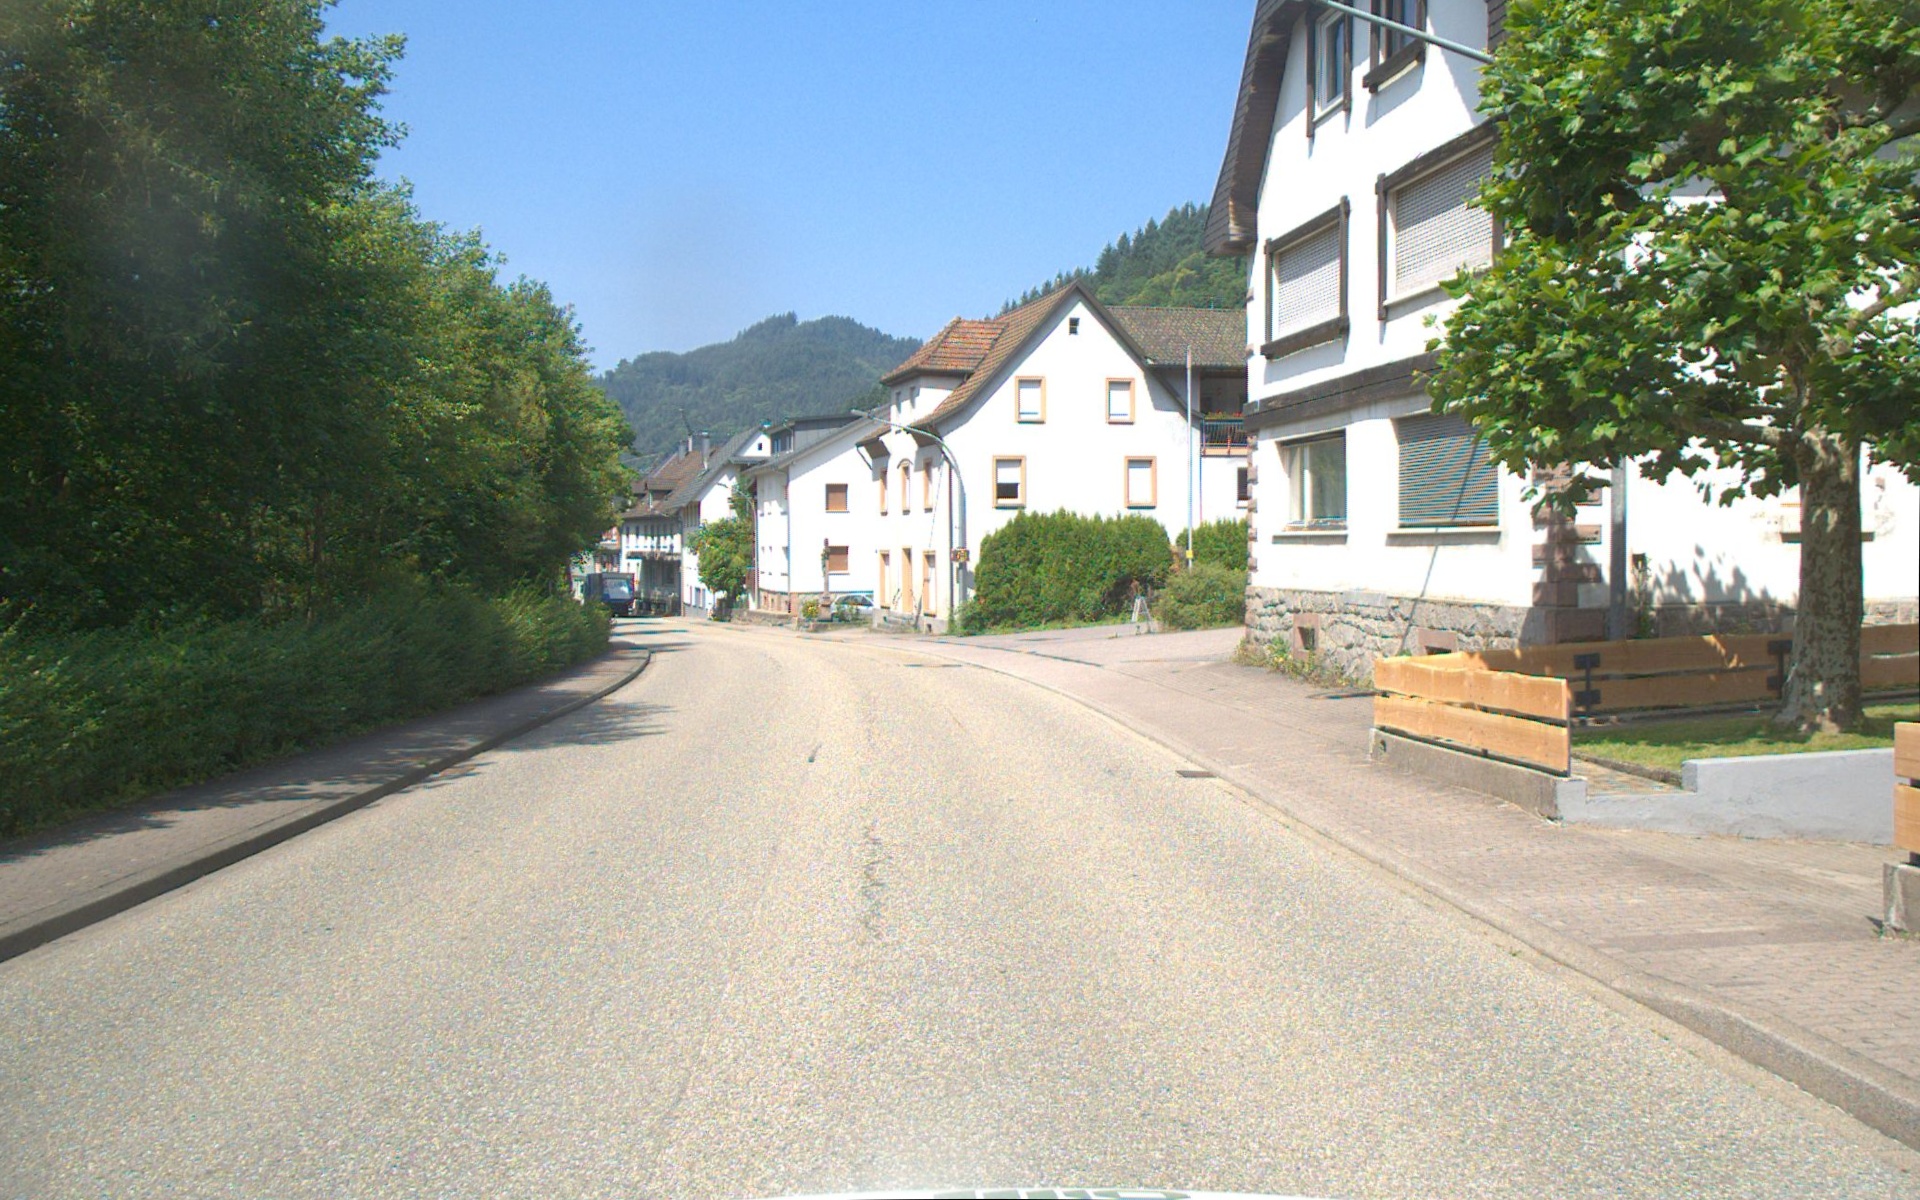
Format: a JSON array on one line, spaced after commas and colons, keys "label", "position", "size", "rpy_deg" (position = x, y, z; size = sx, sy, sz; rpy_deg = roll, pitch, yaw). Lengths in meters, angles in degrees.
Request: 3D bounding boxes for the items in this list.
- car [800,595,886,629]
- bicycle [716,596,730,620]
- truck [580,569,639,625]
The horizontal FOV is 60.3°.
[{"label": "car", "position": [-5.398, 0.542, 76.372], "size": [3.693, 1.452, 1.607], "rpy_deg": [-2, 0, 30]}, {"label": "bicycle", "position": [-14.338, 0.478, 100.037], "size": [0.418, 1.420, 2.267], "rpy_deg": [-5, 1, -15]}, {"label": "truck", "position": [-27.705, -0.207, 130.522], "size": [3.314, 3.847, 8.392], "rpy_deg": [-5, -1, -19]}]
